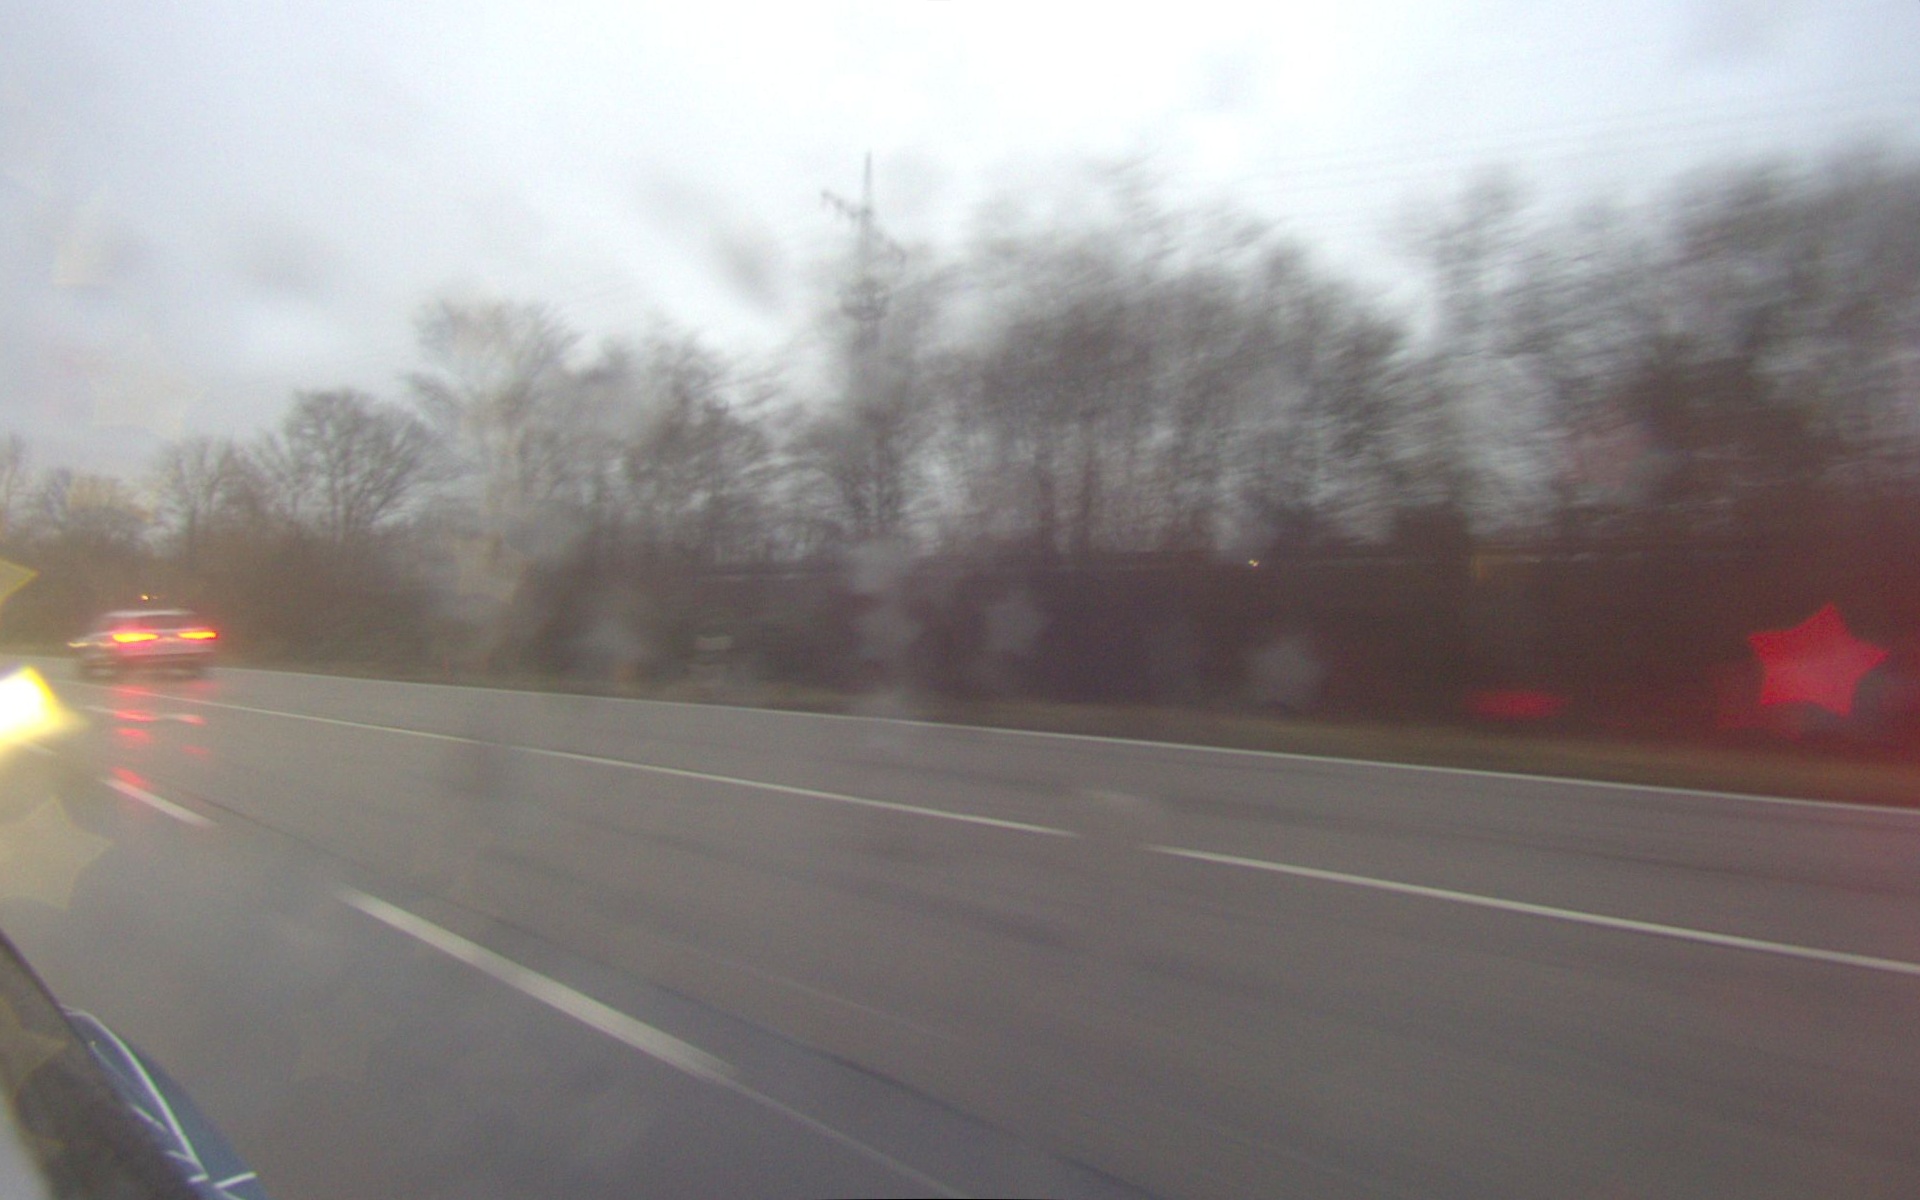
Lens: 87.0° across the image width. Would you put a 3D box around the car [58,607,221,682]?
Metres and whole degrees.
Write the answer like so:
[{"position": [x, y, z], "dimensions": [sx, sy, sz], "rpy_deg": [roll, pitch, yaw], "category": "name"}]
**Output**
[{"position": [-20.268, 1.024, 24.941], "dimensions": [4.712, 1.661, 1.976], "rpy_deg": [-1, 0, 36], "category": "car"}]
